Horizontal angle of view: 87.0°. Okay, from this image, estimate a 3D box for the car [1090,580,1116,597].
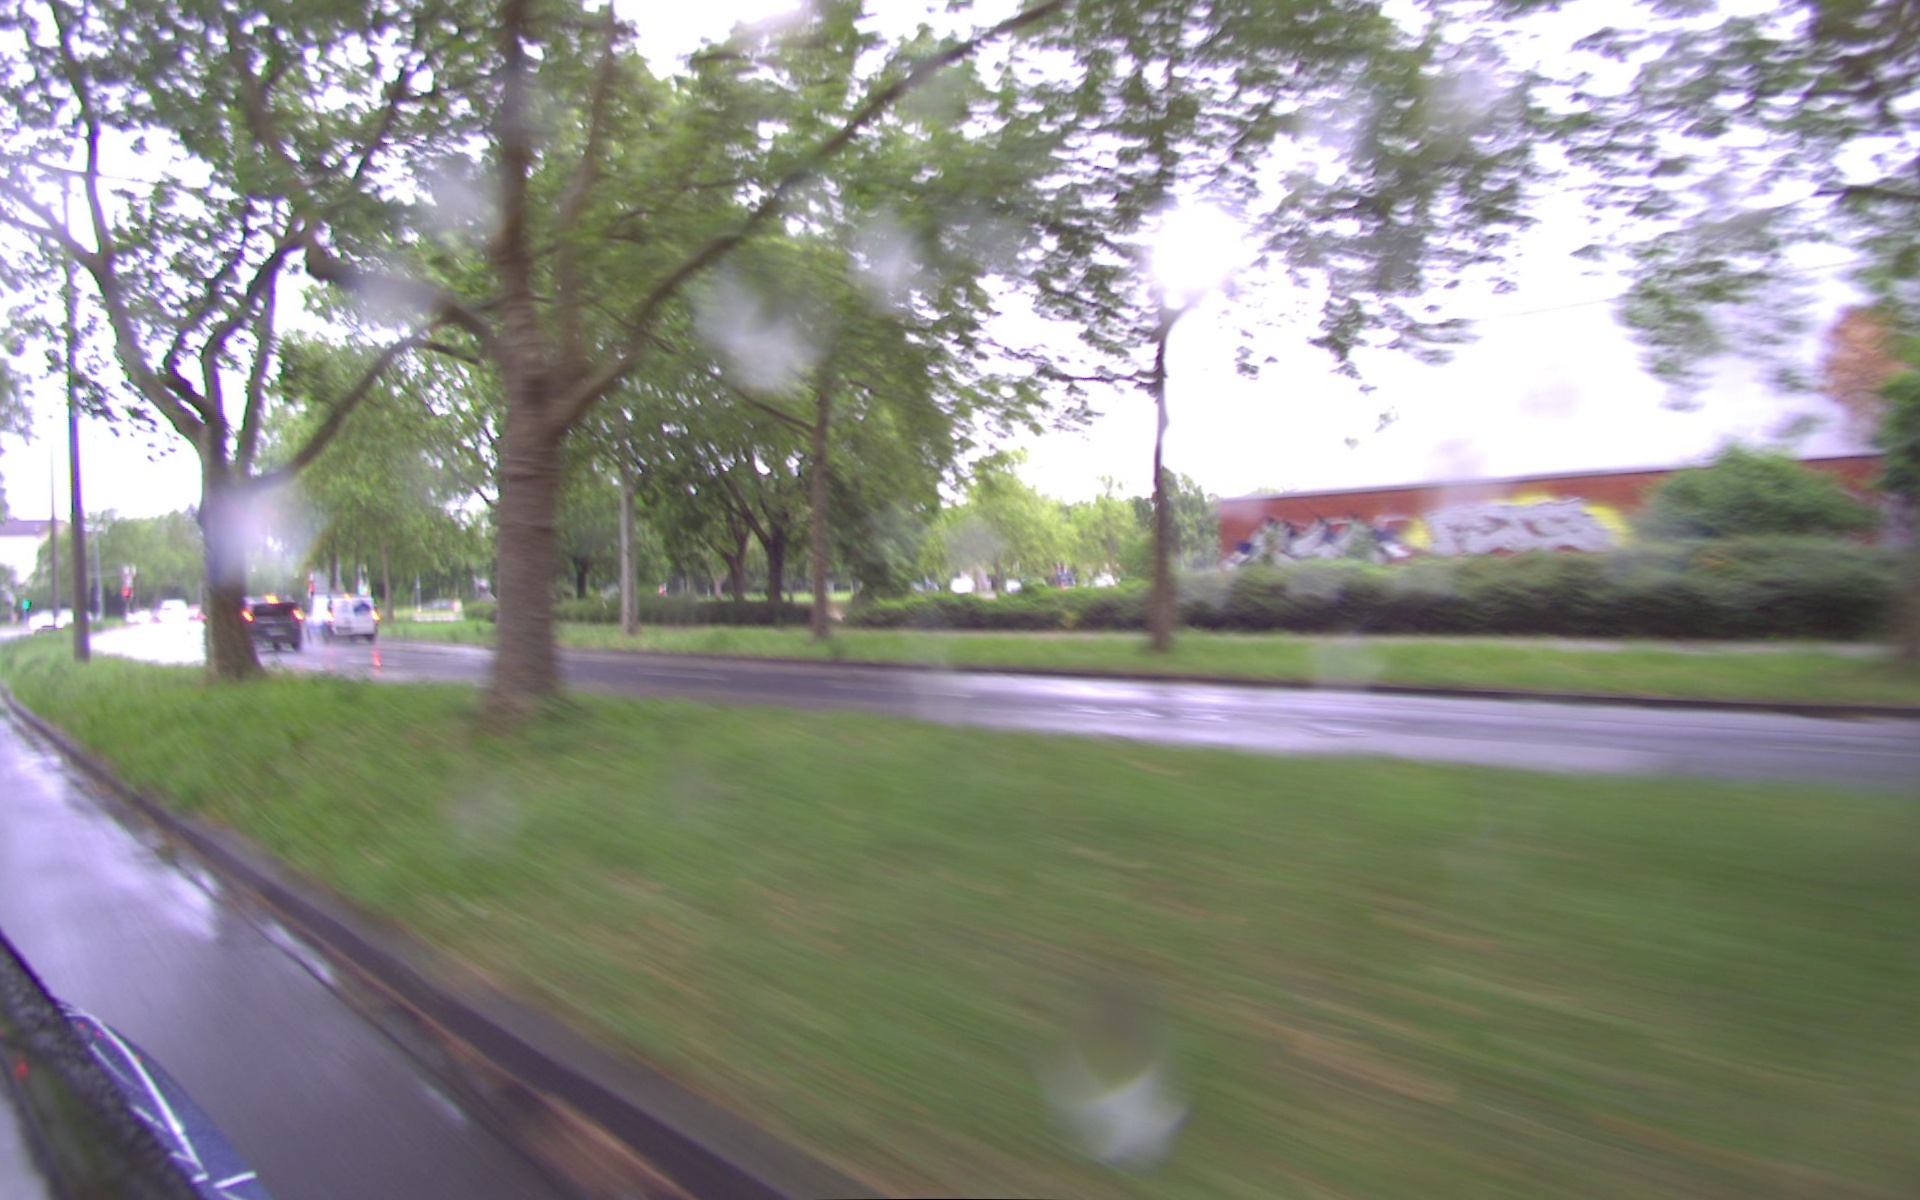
[{"bbox_3d":[17.227,-1.339,121.995,1.969,1.916,4.506,-2,1,-7],"label":"car"}]

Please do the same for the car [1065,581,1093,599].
[{"bbox_3d":[13.096,-1.069,111.339,1.969,1.916,4.506,-2,1,-7],"label":"car"}]

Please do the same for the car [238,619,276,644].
[{"bbox_3d":[-50.650,2.253,72.885,1.968,1.643,4.340,-2,1,-38],"label":"car"}]

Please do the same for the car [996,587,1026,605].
[{"bbox_3d":[4.665,-0.407,93.972,1.969,1.548,4.506,-2,1,-7],"label":"car"}]

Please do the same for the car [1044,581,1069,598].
[{"bbox_3d":[11.653,-1.259,122.309,1.969,1.916,4.506,-2,1,-7],"label":"car"}]

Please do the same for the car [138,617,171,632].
[{"bbox_3d":[-94.695,2.887,119.037,1.965,1.641,4.537,-2,1,-24],"label":"car"}]

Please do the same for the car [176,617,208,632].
[{"bbox_3d":[-91.687,2.921,120.846,1.965,1.641,4.537,-2,1,-23],"label":"car"}]

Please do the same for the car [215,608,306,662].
[{"bbox_3d":[-25.131,1.206,36.279,2.006,1.749,4.960,-2,0,-43],"label":"car"}]

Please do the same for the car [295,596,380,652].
[{"bbox_3d":[-26.776,1.013,43.436,2.006,2.243,5.439,-2,0,-44],"label":"car"}]

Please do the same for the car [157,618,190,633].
[{"bbox_3d":[-98.227,3.130,126.433,1.965,1.641,4.537,-2,1,-22],"label":"car"}]

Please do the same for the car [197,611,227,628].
[{"bbox_3d":[-94.234,2.431,127.534,1.965,1.901,4.537,-2,1,-21],"label":"car"}]

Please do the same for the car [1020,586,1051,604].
[{"bbox_3d":[6.948,-0.434,93.754,1.969,1.548,4.506,-2,1,-7],"label":"car"}]

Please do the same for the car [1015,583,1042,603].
[{"bbox_3d":[7.048,-0.751,104.759,1.969,1.916,4.506,-2,1,-7],"label":"car"}]

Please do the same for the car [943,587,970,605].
[{"bbox_3d":[-0.368,-0.348,94.090,1.969,1.548,4.506,-2,1,-7],"label":"car"}]

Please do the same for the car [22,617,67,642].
[{"bbox_3d":[-64.812,2.038,71.699,1.968,1.641,4.531,-2,1,-38],"label":"car"}]
